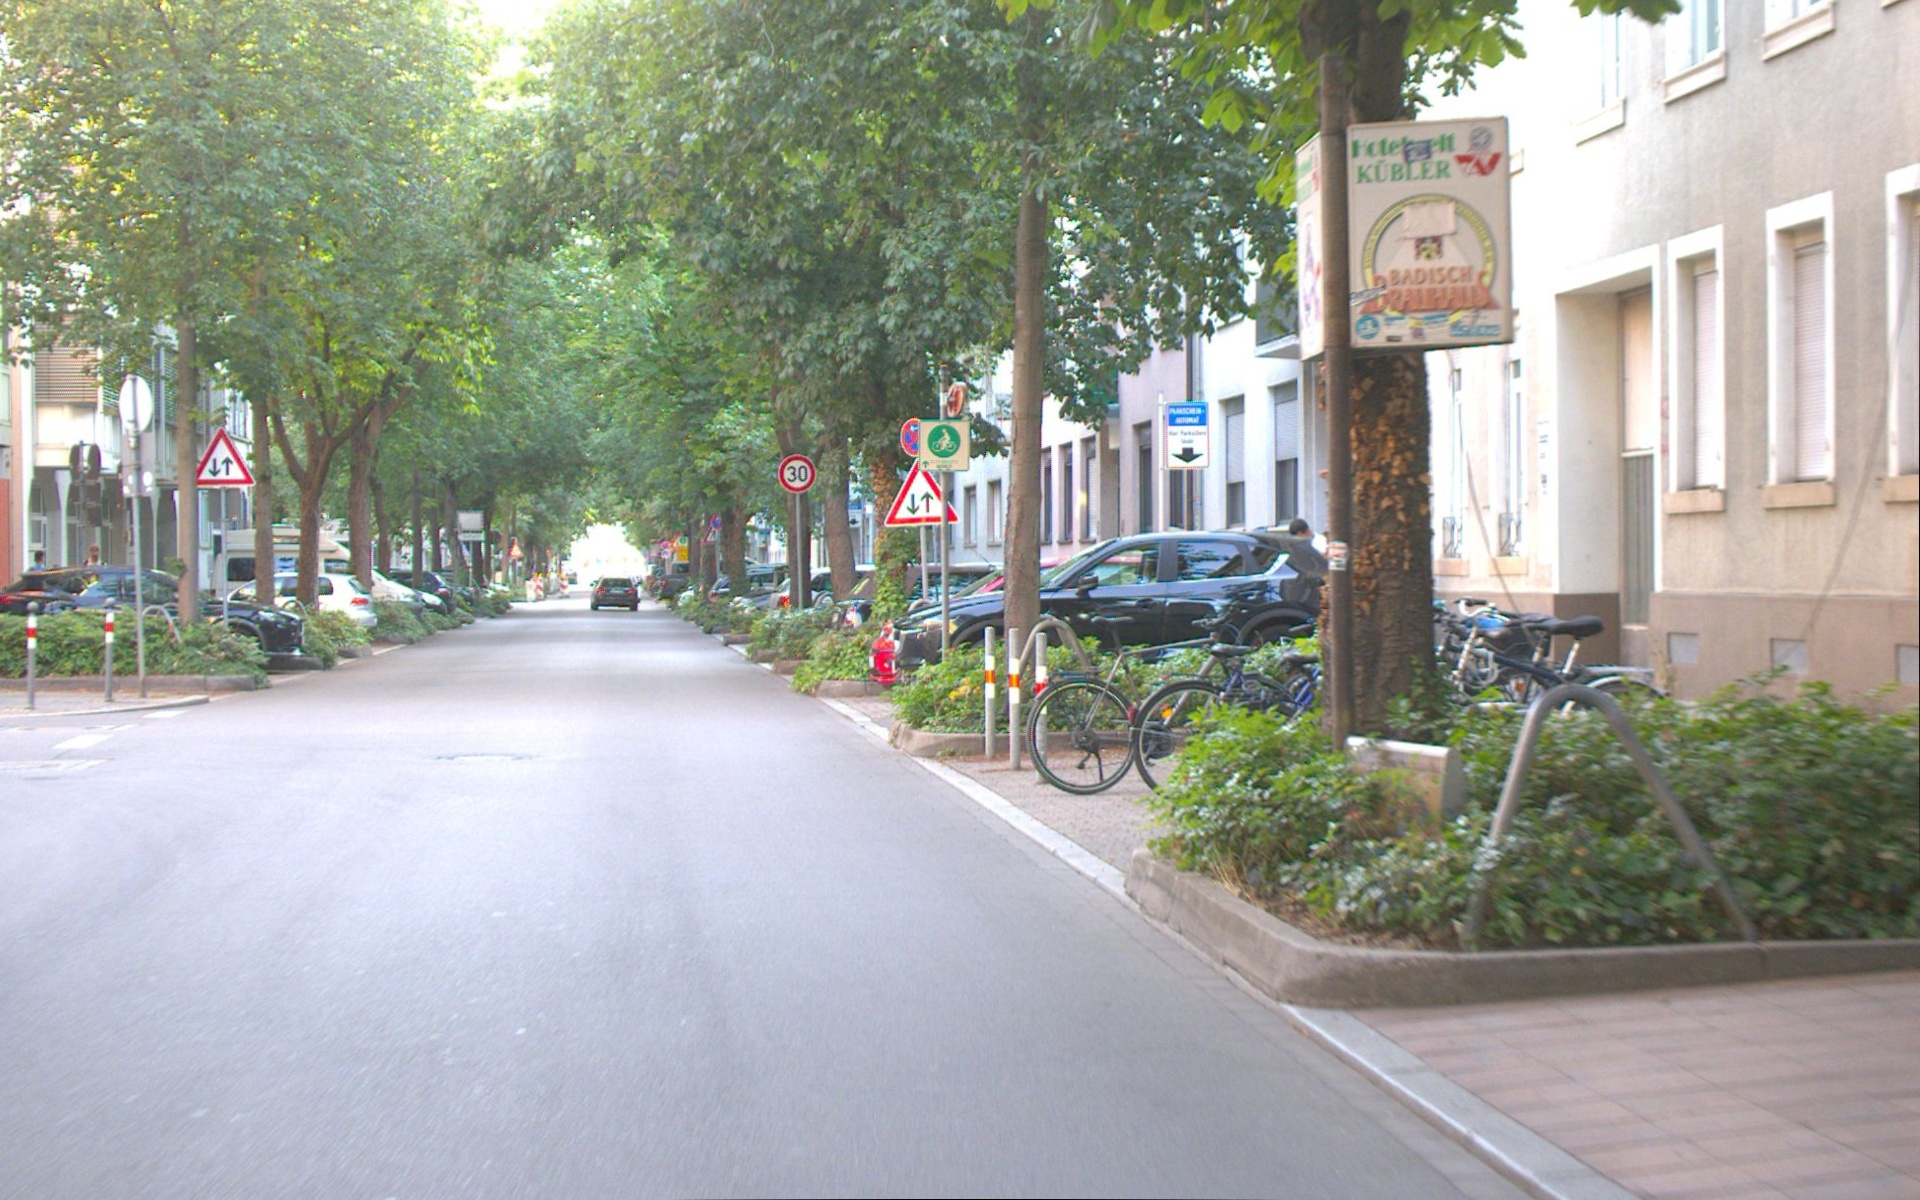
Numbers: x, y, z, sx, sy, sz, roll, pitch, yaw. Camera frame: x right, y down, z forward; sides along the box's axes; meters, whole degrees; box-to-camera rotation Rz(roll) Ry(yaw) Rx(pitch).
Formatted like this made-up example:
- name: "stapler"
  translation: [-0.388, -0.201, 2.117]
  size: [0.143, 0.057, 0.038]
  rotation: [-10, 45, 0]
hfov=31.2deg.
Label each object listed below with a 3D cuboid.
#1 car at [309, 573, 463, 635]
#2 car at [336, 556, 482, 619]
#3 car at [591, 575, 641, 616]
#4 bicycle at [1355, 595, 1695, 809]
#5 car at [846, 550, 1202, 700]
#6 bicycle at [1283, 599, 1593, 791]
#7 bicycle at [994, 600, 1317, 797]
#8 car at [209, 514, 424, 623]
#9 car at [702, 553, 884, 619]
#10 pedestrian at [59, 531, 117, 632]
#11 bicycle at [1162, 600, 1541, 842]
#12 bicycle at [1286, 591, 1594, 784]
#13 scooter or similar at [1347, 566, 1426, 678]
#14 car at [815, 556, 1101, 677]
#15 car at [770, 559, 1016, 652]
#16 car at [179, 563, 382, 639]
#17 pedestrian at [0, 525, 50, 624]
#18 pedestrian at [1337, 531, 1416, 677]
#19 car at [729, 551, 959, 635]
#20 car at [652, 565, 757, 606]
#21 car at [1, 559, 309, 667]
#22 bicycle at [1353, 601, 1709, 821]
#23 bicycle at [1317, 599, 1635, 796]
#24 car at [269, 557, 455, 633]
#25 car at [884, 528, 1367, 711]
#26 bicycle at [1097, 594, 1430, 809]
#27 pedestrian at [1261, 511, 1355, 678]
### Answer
- name: "car"
  translation: [-16.485, 0.094, 98.906]
  size: [4.202, 1.630, 1.963]
  rotation: [-2, 0, -6]
- name: "car"
  translation: [-18.867, -0.439, 117.916]
  size: [4.761, 1.977, 1.963]
  rotation: [-2, 0, -6]
- name: "car"
  translation: [-13.914, -0.199, 139.134]
  size: [1.956, 1.560, 4.283]
  rotation: [-2, 0, -5]
- name: "bicycle"
  translation: [3.240, 0.569, 19.741]
  size: [1.794, 1.139, 0.651]
  rotation: [-2, 1, -14]
- name: "car"
  translation: [0.643, 0.241, 36.358]
  size: [3.482, 1.447, 1.900]
  rotation: [-2, 1, -7]
- name: "bicycle"
  translation: [2.930, 0.570, 21.089]
  size: [1.794, 1.104, 0.500]
  rotation: [-1, 1, -11]
- name: "bicycle"
  translation: [1.212, 0.595, 21.363]
  size: [1.837, 1.132, 0.745]
  rotation: [-2, 1, -16]
- name: "car"
  translation: [-14.715, -0.717, 78.808]
  size: [4.681, 2.469, 2.000]
  rotation: [0, 0, -6]
- name: "car"
  translation: [-4.199, -0.351, 86.720]
  size: [4.507, 1.516, 1.996]
  rotation: [-2, 0, -2]
- name: "pedestrian"
  translation: [-15.265, -0.326, 60.186]
  size: [0.704, 1.751, 0.739]
  rotation: [0, 0, 18]
- name: "bicycle"
  translation: [2.026, 0.613, 17.892]
  size: [1.829, 1.174, 0.673]
  rotation: [-1, 1, -6]
- name: "bicycle"
  translation: [3.036, 0.538, 21.787]
  size: [1.794, 1.139, 0.669]
  rotation: [-2, 1, -14]
- name: "scooter or similar"
  translation: [4.476, 0.221, 36.110]
  size: [0.655, 1.149, 0.831]
  rotation: [-1, 1, -5]
- name: "car"
  translation: [-0.060, 0.195, 44.862]
  size: [3.482, 1.447, 1.900]
  rotation: [-2, 1, -7]
- name: "car"
  translation: [-1.139, 0.077, 57.621]
  size: [3.875, 1.435, 1.848]
  rotation: [-2, 1, -9]
- name: "car"
  translation: [-13.901, 0.014, 70.503]
  size: [3.870, 1.481, 1.757]
  rotation: [1, 0, -4]
- name: "pedestrian"
  translation: [-16.312, -0.441, 59.992]
  size: [0.703, 1.722, 0.905]
  rotation: [0, 0, -6]
- name: "pedestrian"
  translation: [4.428, 0.036, 36.586]
  size: [0.655, 1.531, 0.831]
  rotation: [-1, 1, -5]
- name: "car"
  translation: [-2.435, -0.151, 71.448]
  size: [4.717, 1.704, 1.950]
  rotation: [0, 1, -4]
- name: "car"
  translation: [-10.609, -0.609, 142.454]
  size: [4.267, 1.560, 1.963]
  rotation: [-2, 0, -6]
- name: "car"
  translation: [-11.586, 0.178, 49.728]
  size: [4.126, 1.481, 1.930]
  rotation: [1, 0, -6]
- name: "bicycle"
  translation: [3.134, 0.593, 18.910]
  size: [1.794, 1.124, 0.664]
  rotation: [-2, 1, -11]
- name: "bicycle"
  translation: [3.085, 0.574, 20.581]
  size: [1.794, 1.104, 0.500]
  rotation: [-1, 1, -11]
- name: "car"
  translation: [-15.836, -0.128, 91.207]
  size: [4.681, 1.848, 1.963]
  rotation: [-2, 0, -6]
- name: "car"
  translation: [1.541, 0.165, 33.108]
  size: [4.425, 1.650, 1.900]
  rotation: [-1, 1, -4]
- name: "bicycle"
  translation: [1.763, 0.580, 20.081]
  size: [1.829, 1.174, 0.601]
  rotation: [-1, 1, -6]
- name: "pedestrian"
  translation: [3.668, -0.064, 36.231]
  size: [0.689, 1.731, 0.674]
  rotation: [-1, 1, -37]
